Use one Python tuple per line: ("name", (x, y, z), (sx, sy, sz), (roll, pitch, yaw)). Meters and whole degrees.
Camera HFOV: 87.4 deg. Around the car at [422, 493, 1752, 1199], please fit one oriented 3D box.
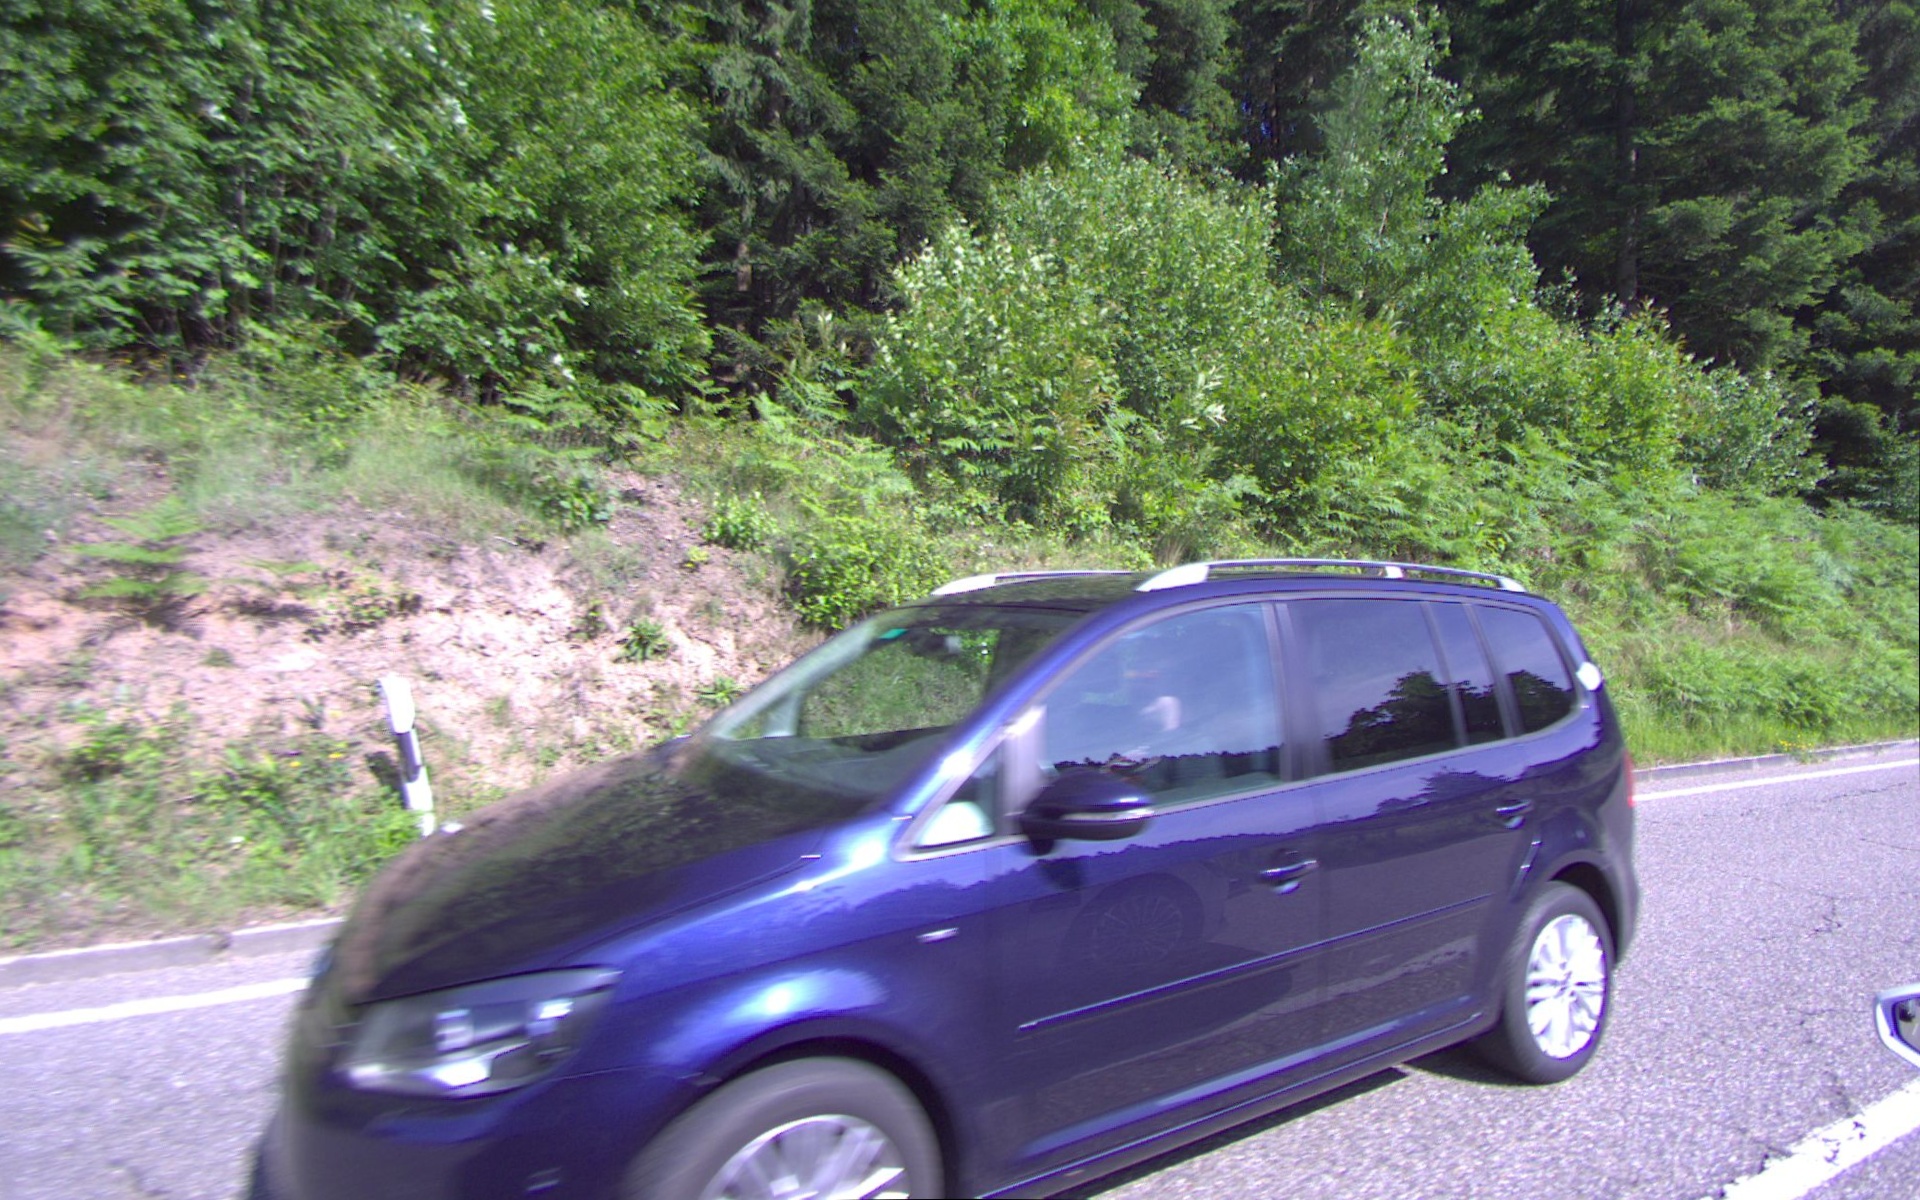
("car", (0.642, 0.715, 3.425), (4.302, 1.650, 1.824), (1, -2, -31))
